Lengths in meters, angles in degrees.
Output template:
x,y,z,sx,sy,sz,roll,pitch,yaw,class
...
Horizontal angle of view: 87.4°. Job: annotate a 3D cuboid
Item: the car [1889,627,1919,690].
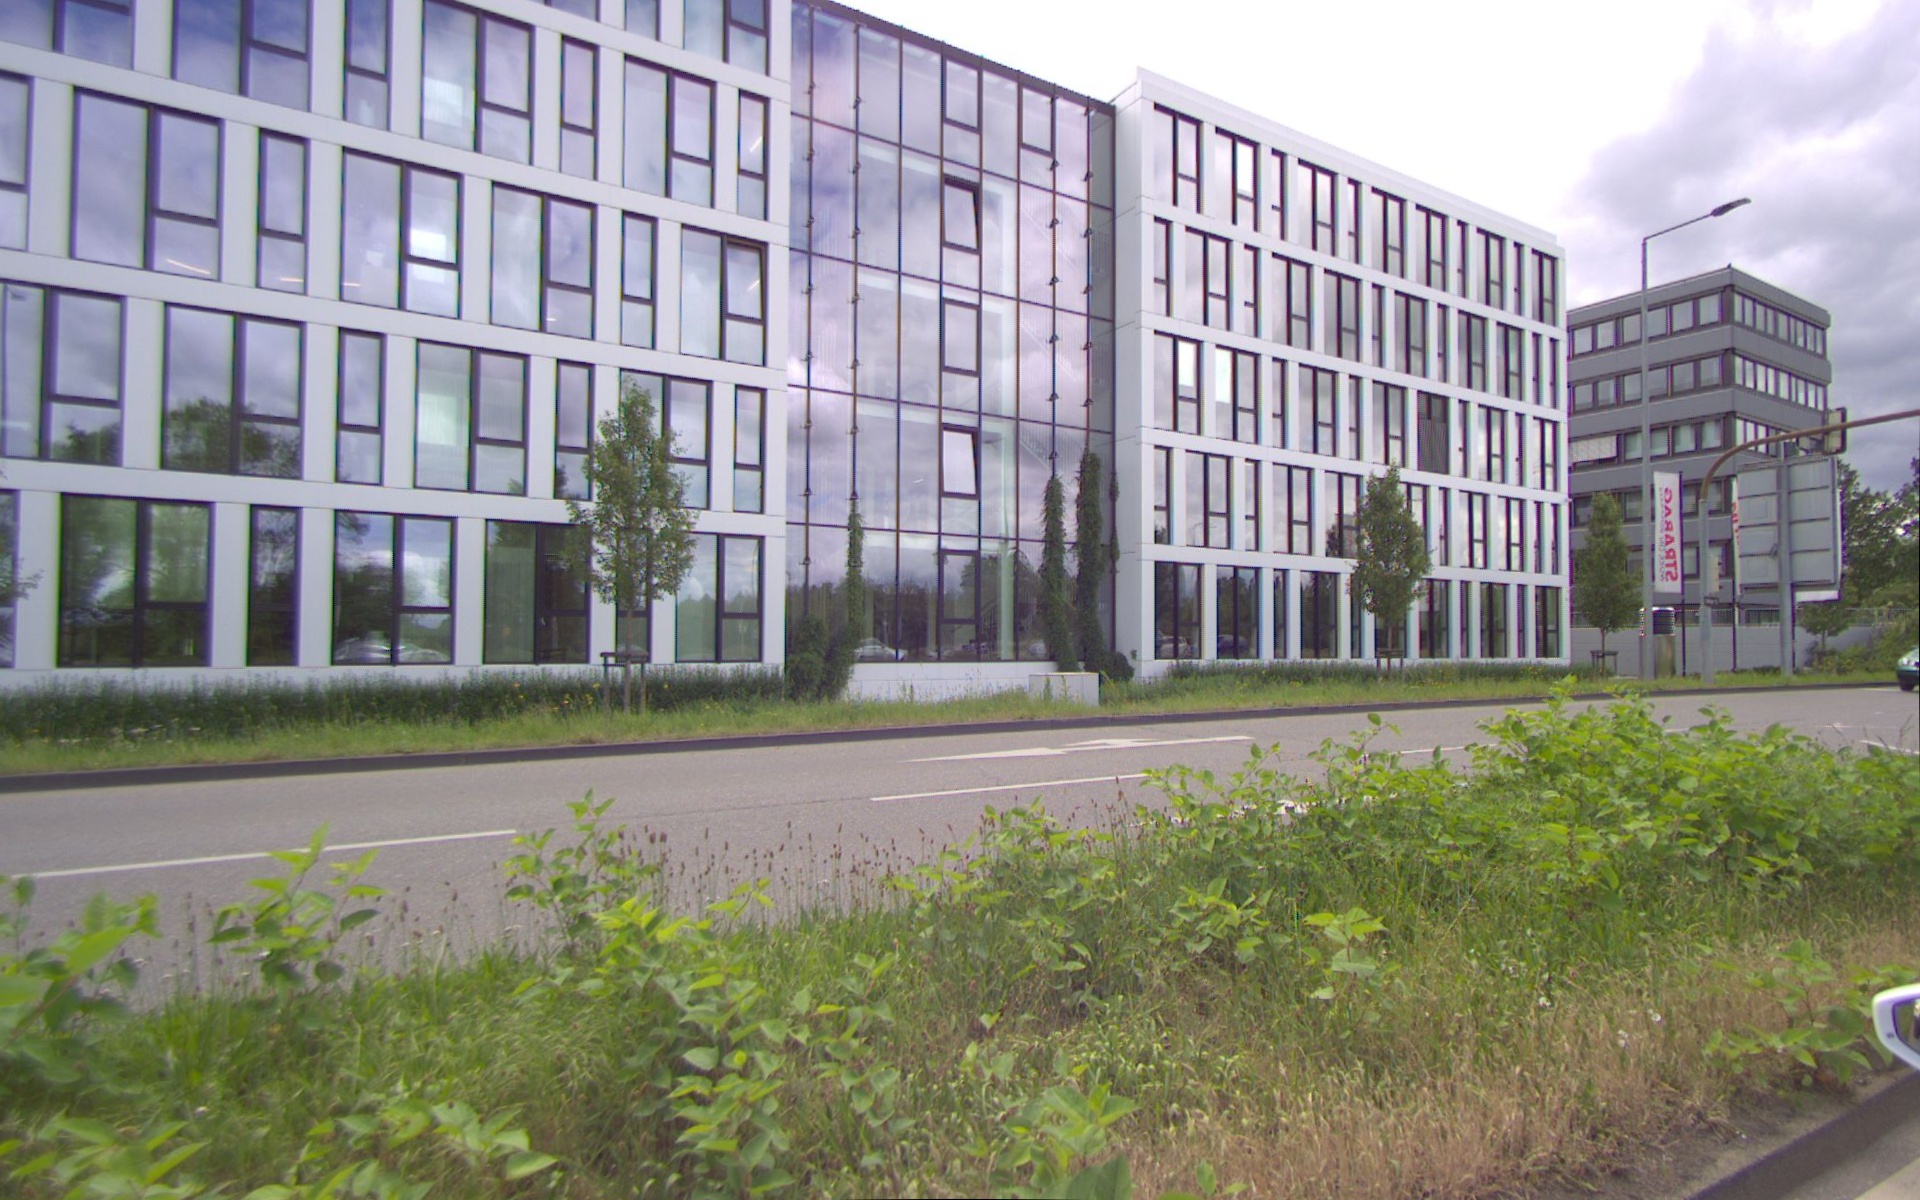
x,y,z,sx,sy,sz,roll,pitch,yaw,class
24.048,1.394,24.023,3.706,1.451,1.599,1,-1,-28,car
